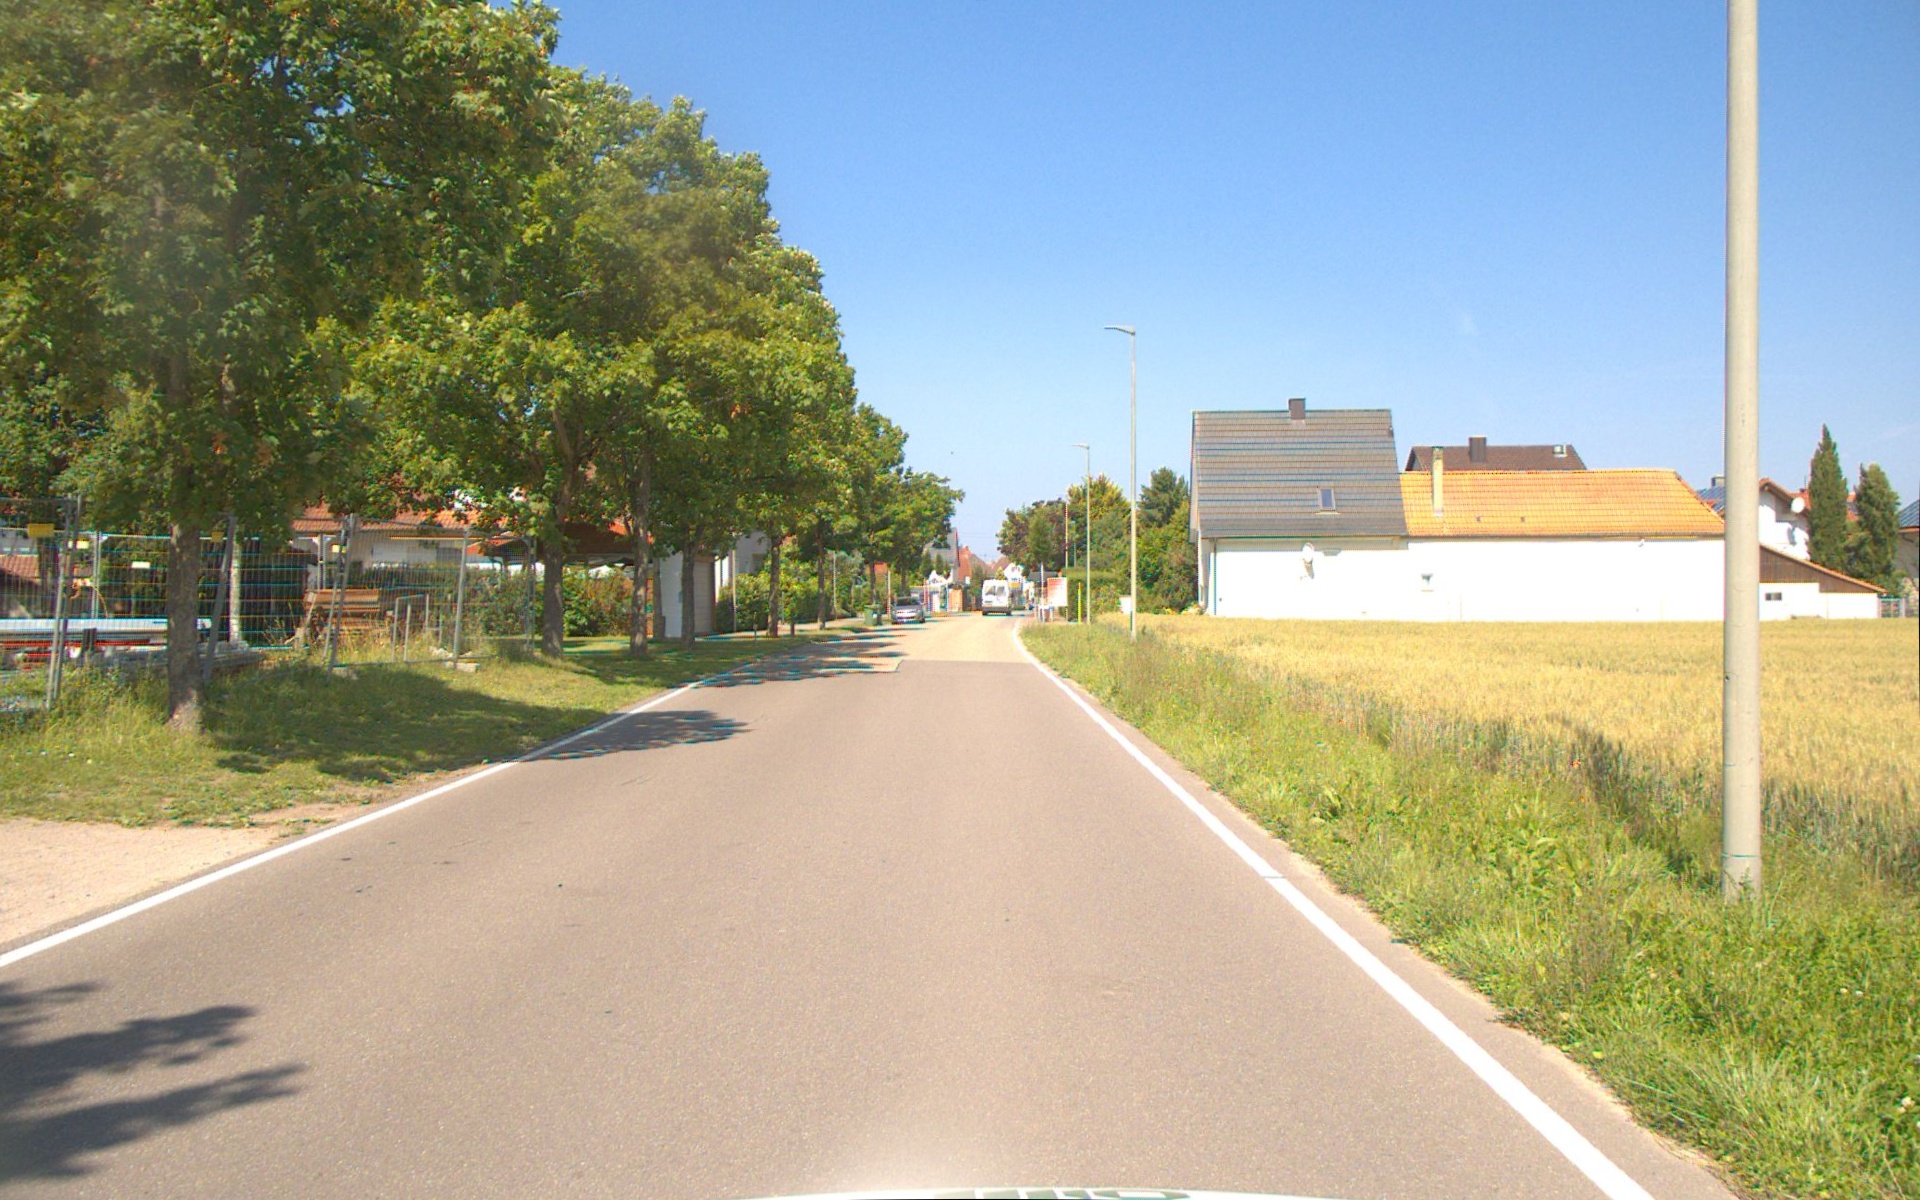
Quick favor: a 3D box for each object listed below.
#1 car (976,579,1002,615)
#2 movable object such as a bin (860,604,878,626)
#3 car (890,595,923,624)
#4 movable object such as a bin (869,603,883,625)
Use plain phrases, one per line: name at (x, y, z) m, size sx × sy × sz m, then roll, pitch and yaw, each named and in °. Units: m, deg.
car at (2.084, -0.219, 118.606) m, size 1.701 × 2.475 × 4.375 m, roll -1°, pitch 0°, yaw 2°
movable object such as a bin at (-4.656, 0.744, 84.325) m, size 0.699 × 1.097 × 0.639 m, roll -1°, pitch 0°, yaw 27°
car at (-2.882, 0.483, 89.665) m, size 1.613 × 1.448 × 4.080 m, roll -3°, pitch 0°, yaw 0°
movable object such as a bin at (-4.300, 0.713, 84.942) m, size 0.562 × 1.097 × 0.599 m, roll -1°, pitch 0°, yaw 15°
